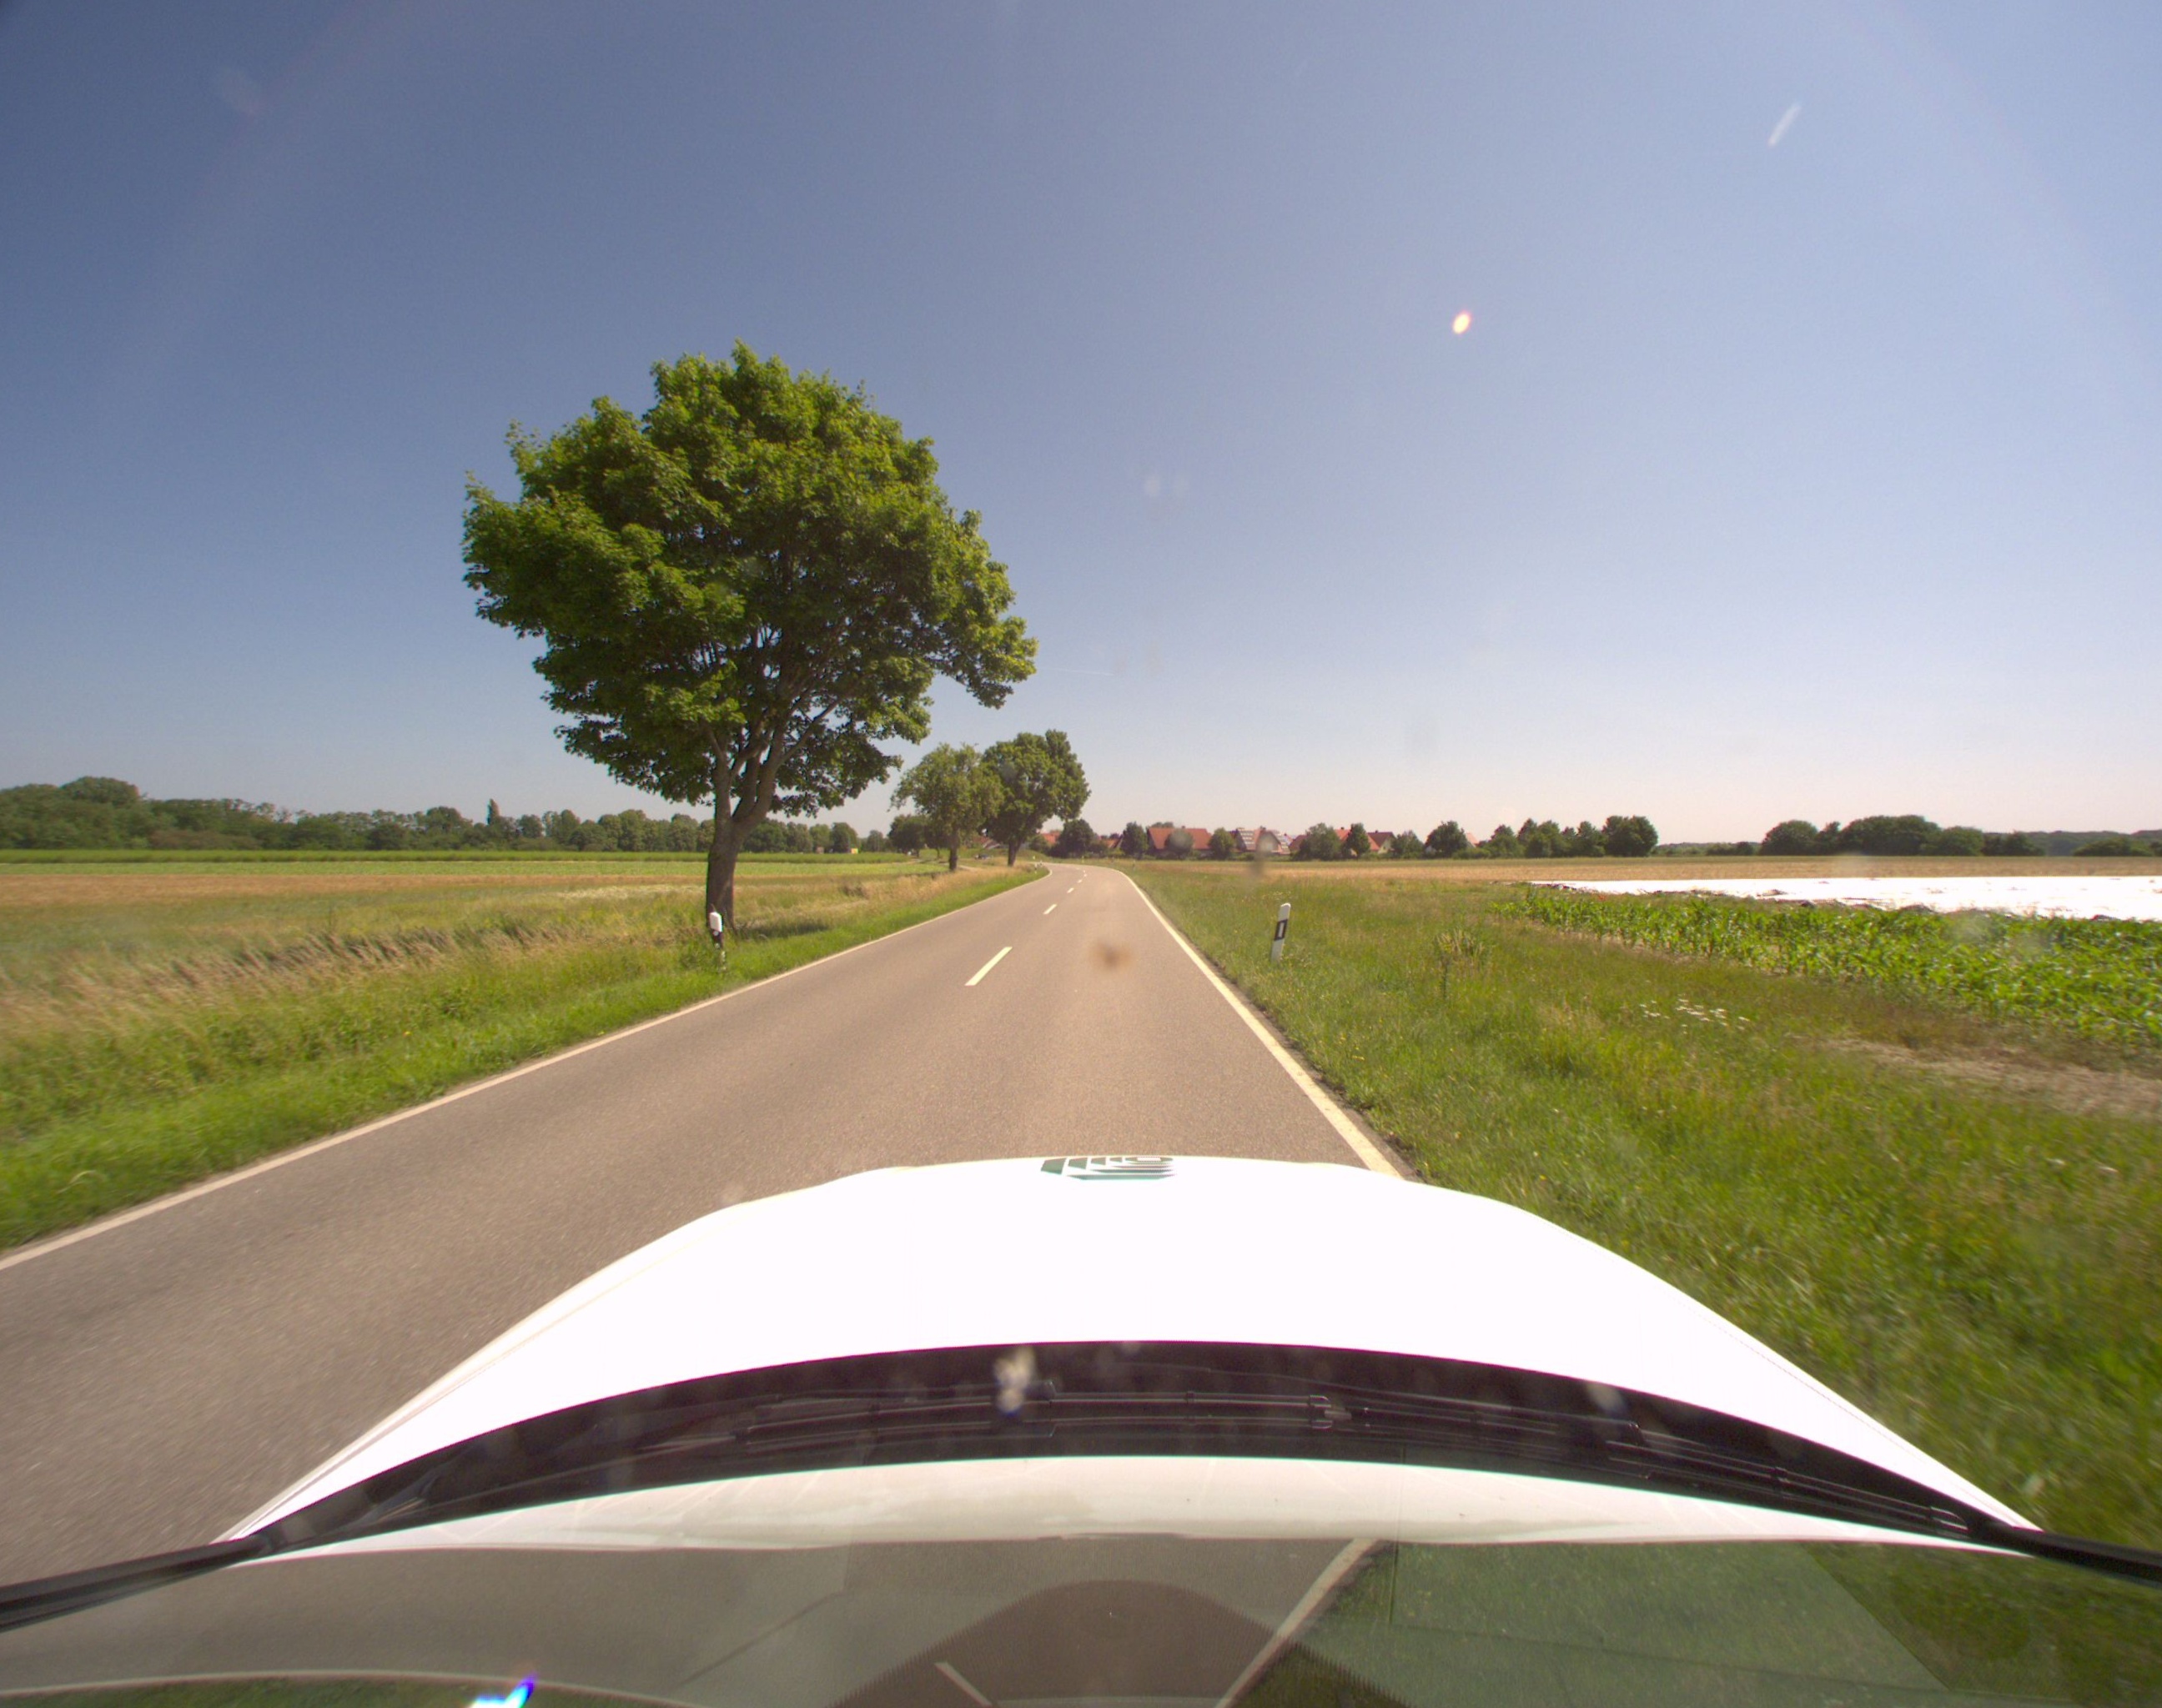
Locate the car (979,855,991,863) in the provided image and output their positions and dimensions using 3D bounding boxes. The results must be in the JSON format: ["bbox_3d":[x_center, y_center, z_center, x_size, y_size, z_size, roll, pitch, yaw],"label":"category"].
[{"bbox_3d":[-19.114,1.070,162.444,1.648,1.429,4.155,-3,0,-18],"label":"car"}]
